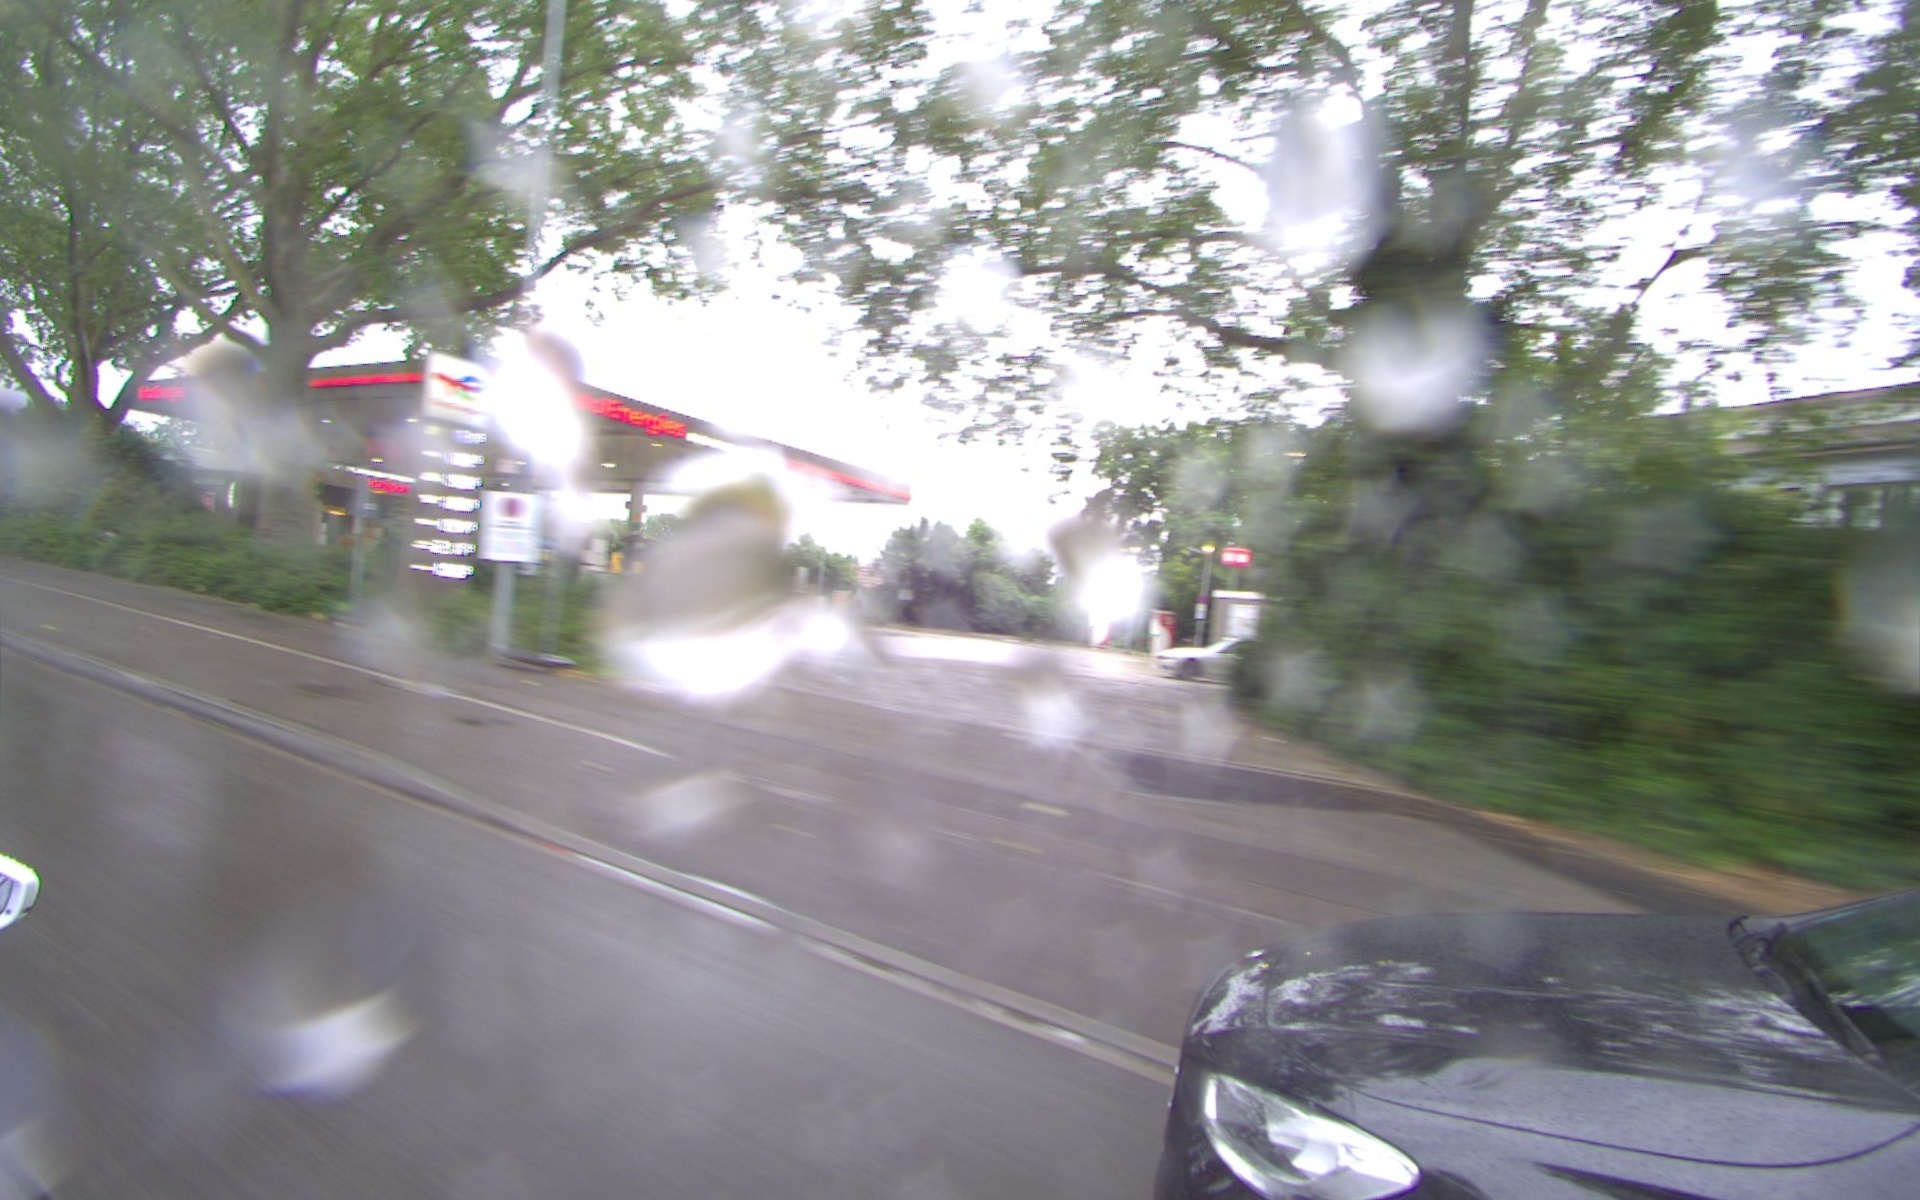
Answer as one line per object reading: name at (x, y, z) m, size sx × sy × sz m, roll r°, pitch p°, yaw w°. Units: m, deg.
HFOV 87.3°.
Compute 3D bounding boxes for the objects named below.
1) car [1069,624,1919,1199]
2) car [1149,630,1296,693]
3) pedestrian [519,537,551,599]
car at (2.379, 1.050, 1.475) m, size 4.017 × 1.542 × 1.873 m, roll 6°, pitch 0°, yaw 29°
car at (7.964, 1.845, 30.743) m, size 3.925 × 1.371 × 1.718 m, roll 7°, pitch 0°, yaw 1°
pedestrian at (-12.630, -0.952, 29.874) m, size 0.551 × 1.747 × 0.718 m, roll 5°, pitch 1°, yaw -39°
